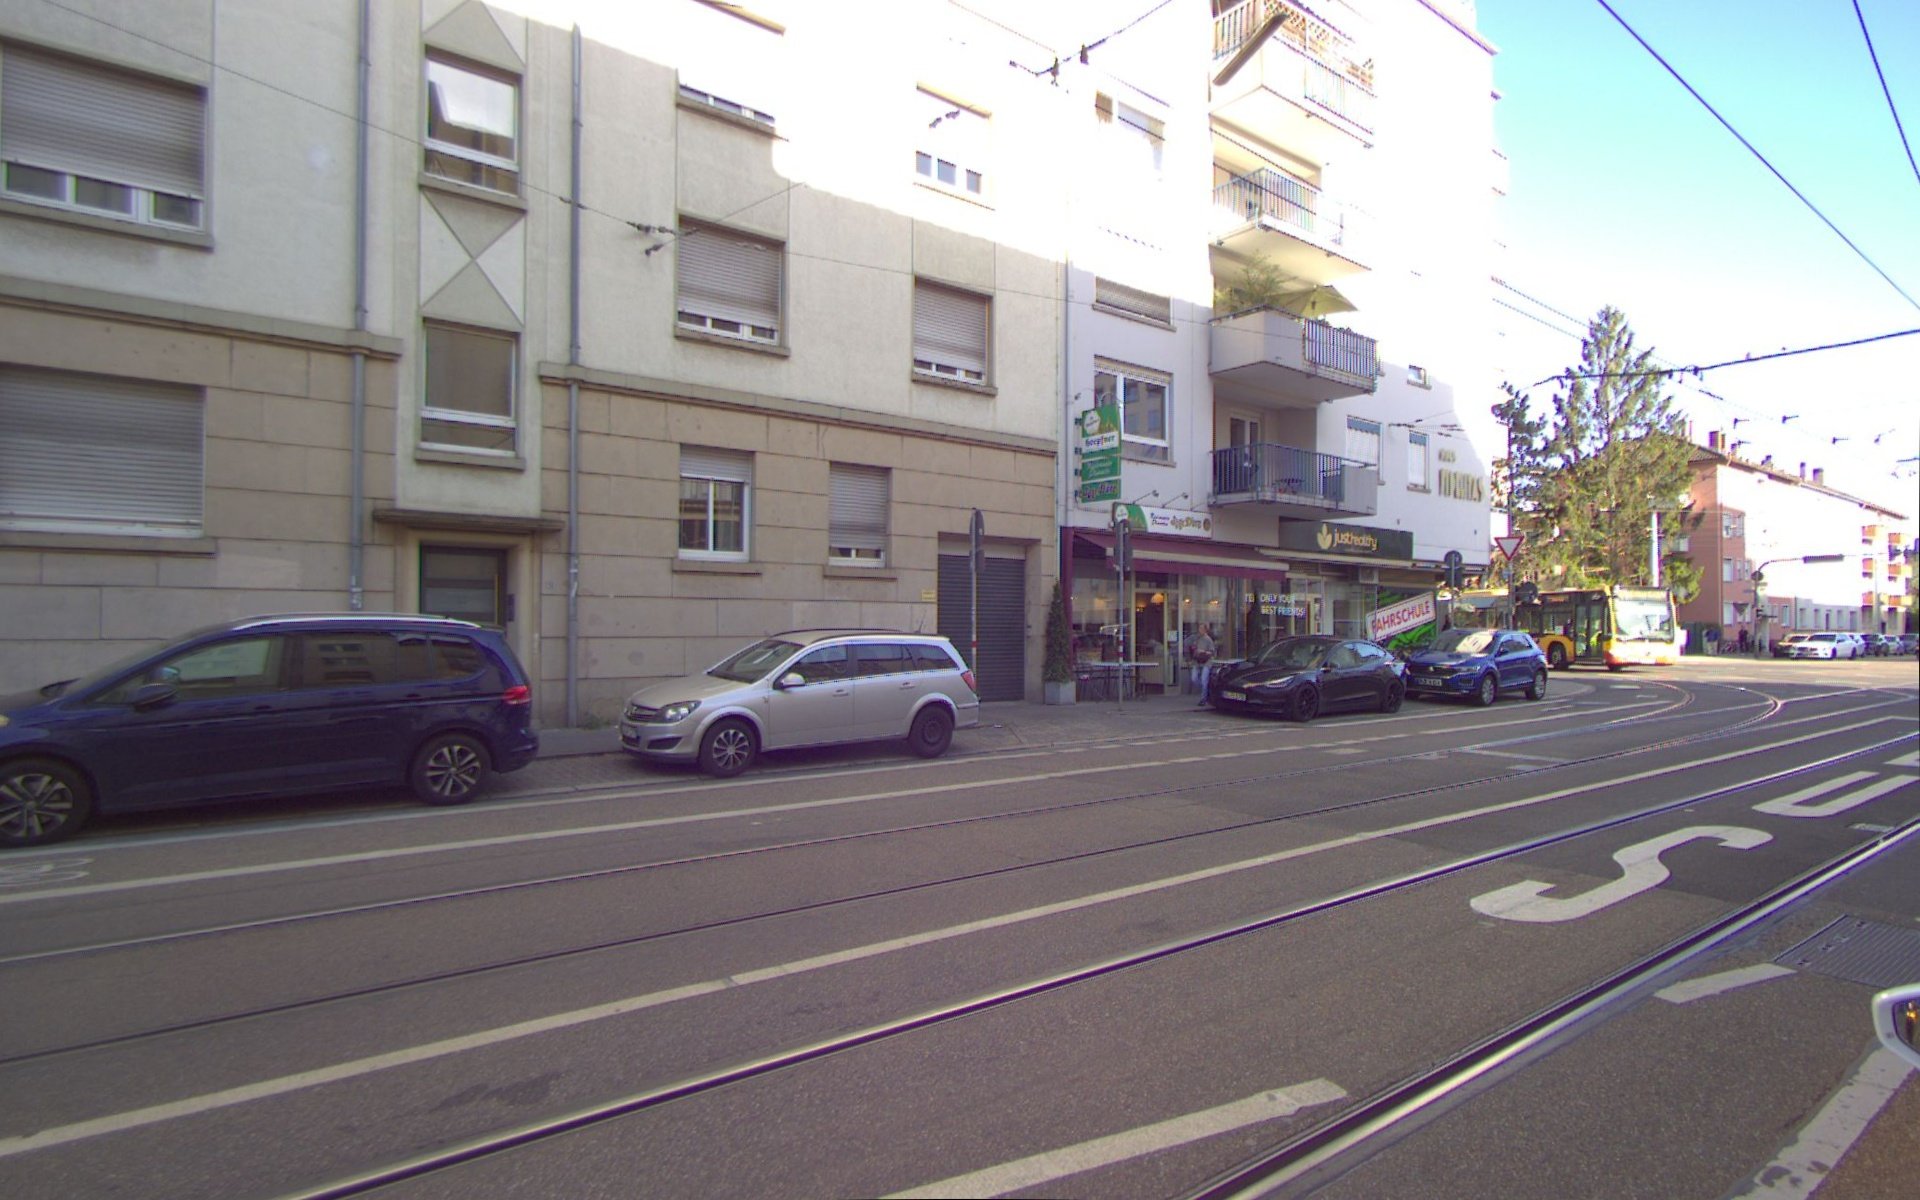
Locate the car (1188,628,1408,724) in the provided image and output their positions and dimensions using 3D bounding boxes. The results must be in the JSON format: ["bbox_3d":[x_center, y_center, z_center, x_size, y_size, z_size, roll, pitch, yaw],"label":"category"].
[{"bbox_3d":[6.255,1.321,18.374,4.272,1.529,1.687,2,-1,-37],"label":"car"}]

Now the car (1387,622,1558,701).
[{"bbox_3d":[11.203,1.303,21.866,3.963,1.529,1.732,2,-1,-37],"label":"car"}]

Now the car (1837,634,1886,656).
[{"bbox_3d":[62.690,3.099,69.842,3.965,1.517,1.896,1,-2,-38],"label":"car"}]

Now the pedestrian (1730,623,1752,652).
[{"bbox_3d":[47.192,2.269,60.717,0.729,1.713,0.839,1,-1,-31],"label":"pedestrian"}]

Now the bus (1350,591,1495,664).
[{"bbox_3d":[21.675,1.305,47.667,2.695,3.203,7.571,0,-2,-7],"label":"bus"}]

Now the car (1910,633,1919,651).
[{"bbox_3d":[82.315,3.546,85.245,3.965,1.517,1.896,1,-2,-38],"label":"car"}]

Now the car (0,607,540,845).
[{"bbox_3d":[-6.053,0.933,8.626,4.207,1.637,1.686,2,-1,-39],"label":"car"}]

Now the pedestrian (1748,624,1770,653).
[{"bbox_3d":[47.755,2.267,60.044,0.729,1.713,0.839,1,-1,-31],"label":"pedestrian"}]

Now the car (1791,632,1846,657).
[{"bbox_3d":[53.760,2.739,62.877,3.965,1.517,1.896,1,-2,-38],"label":"car"}]

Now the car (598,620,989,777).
[{"bbox_3d":[-1.865,1.063,12.038,4.347,1.529,1.686,2,-1,-38],"label":"car"}]

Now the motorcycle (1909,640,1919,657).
[{"bbox_3d":[51.235,2.561,53.525,1.653,0.875,0.612,1,-2,-34],"label":"motorcycle"}]

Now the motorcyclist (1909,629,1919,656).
[{"bbox_3d":[51.115,2.266,53.436,0.902,1.396,0.715,1,-2,-34],"label":"motorcyclist"}]

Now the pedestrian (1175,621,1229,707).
[{"bbox_3d":[4.555,1.178,18.914,0.714,1.569,0.693,0,-1,-34],"label":"pedestrian"}]

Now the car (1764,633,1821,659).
[{"bbox_3d":[49.247,2.683,59.423,3.967,1.452,1.895,1,-2,-40],"label":"car"}]

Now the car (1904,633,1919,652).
[{"bbox_3d":[78.603,3.421,81.878,3.965,1.517,1.896,1,-2,-38],"label":"car"}]

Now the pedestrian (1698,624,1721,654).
[{"bbox_3d":[42.982,2.235,57.624,0.729,1.713,0.839,1,-1,-31],"label":"pedestrian"}]

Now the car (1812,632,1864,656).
[{"bbox_3d":[57.410,2.875,65.655,3.965,1.517,1.896,1,-2,-38],"label":"car"}]

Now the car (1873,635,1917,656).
[{"bbox_3d":[71.799,3.478,77.084,3.965,1.517,1.896,1,-2,-38],"label":"car"}]

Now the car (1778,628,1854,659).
[{"bbox_3d":[45.728,2.286,53.632,4.351,1.595,1.840,1,-1,-31],"label":"car"}]

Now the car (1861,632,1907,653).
[{"bbox_3d":[67.586,3.073,73.457,3.965,1.517,1.896,1,-2,-38],"label":"car"}]

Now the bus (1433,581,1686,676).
[{"bbox_3d":[22.601,1.109,38.889,2.680,3.200,10.185,0,-2,-7],"label":"bus"}]

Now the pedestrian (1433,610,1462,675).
[{"bbox_3d":[15.451,1.328,31.819,0.482,2.040,0.681,1,-1,-39],"label":"pedestrian"}]
